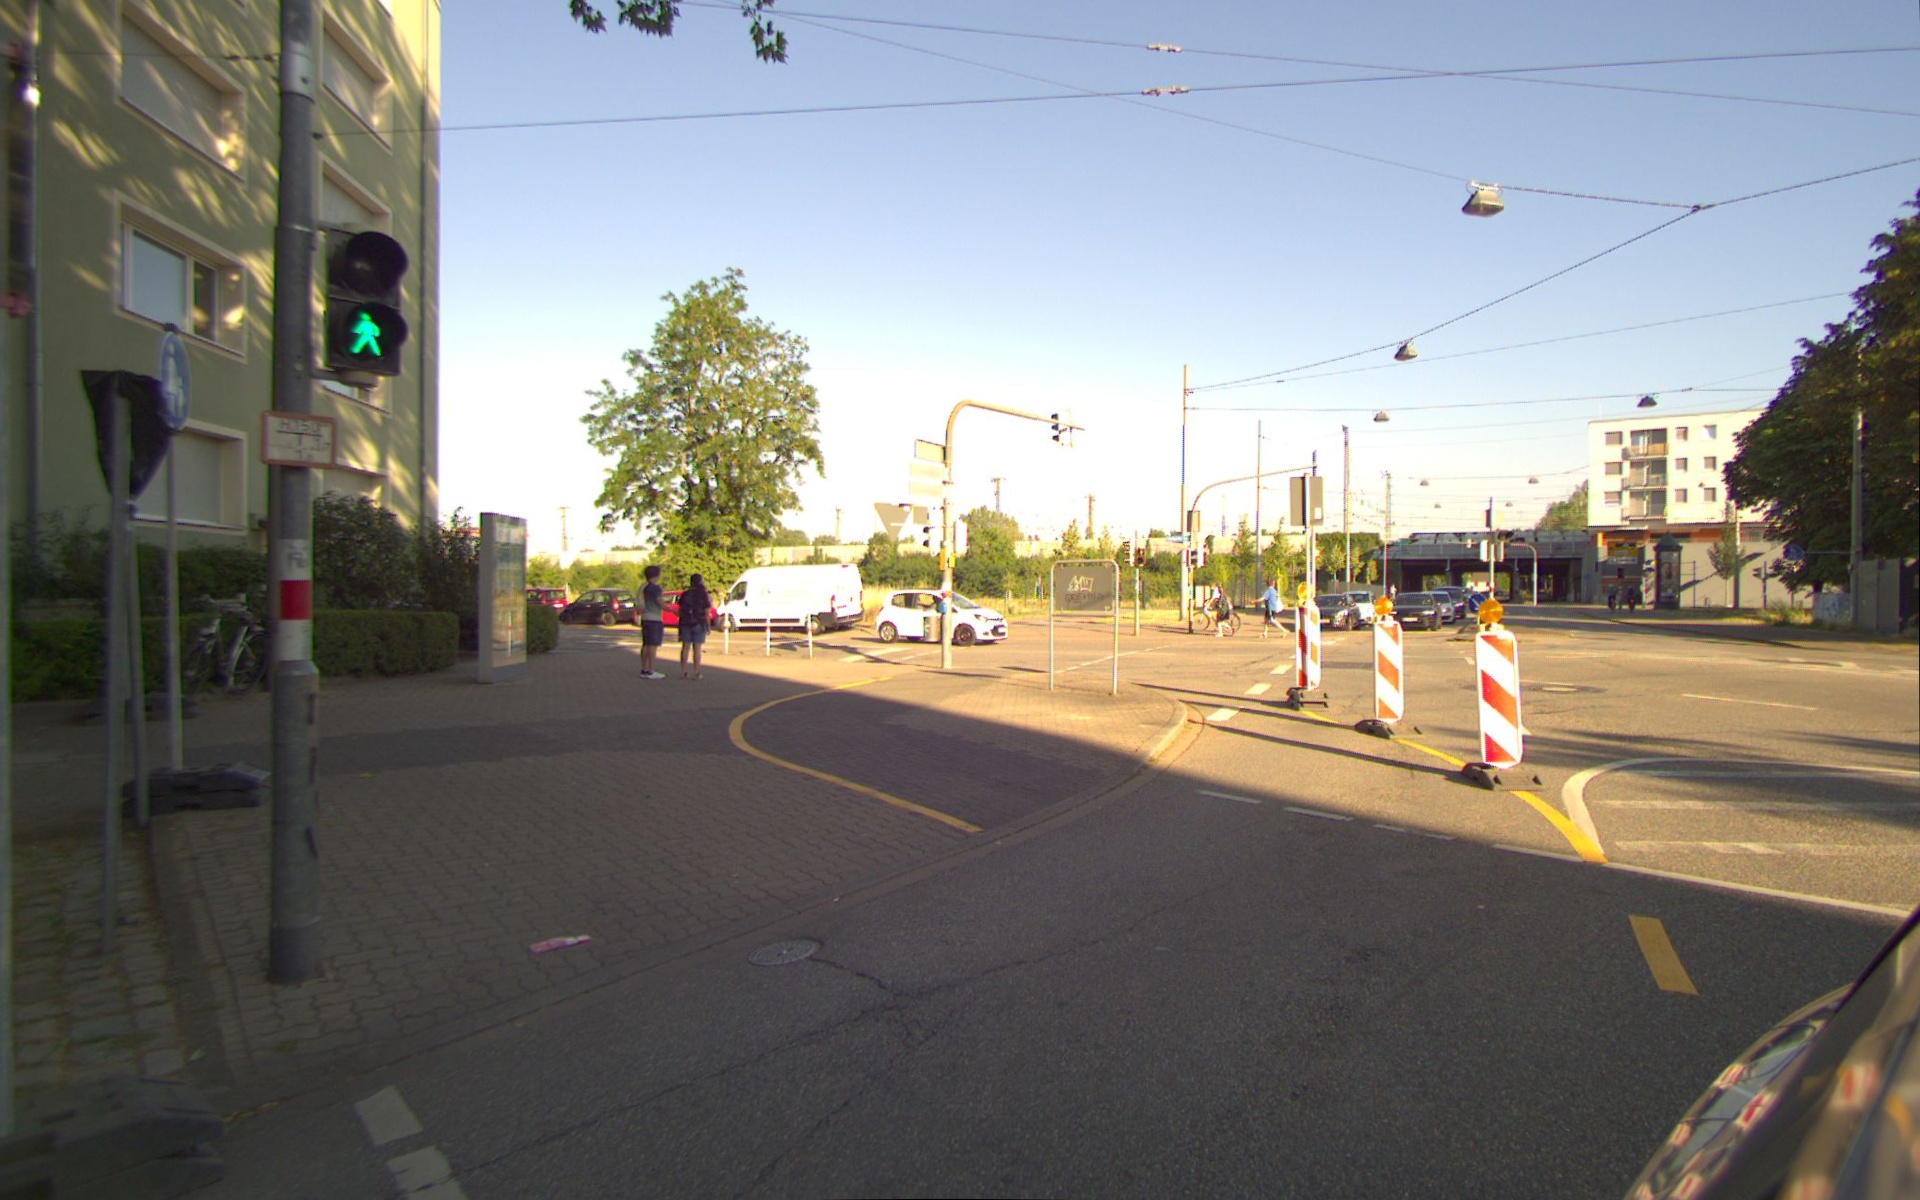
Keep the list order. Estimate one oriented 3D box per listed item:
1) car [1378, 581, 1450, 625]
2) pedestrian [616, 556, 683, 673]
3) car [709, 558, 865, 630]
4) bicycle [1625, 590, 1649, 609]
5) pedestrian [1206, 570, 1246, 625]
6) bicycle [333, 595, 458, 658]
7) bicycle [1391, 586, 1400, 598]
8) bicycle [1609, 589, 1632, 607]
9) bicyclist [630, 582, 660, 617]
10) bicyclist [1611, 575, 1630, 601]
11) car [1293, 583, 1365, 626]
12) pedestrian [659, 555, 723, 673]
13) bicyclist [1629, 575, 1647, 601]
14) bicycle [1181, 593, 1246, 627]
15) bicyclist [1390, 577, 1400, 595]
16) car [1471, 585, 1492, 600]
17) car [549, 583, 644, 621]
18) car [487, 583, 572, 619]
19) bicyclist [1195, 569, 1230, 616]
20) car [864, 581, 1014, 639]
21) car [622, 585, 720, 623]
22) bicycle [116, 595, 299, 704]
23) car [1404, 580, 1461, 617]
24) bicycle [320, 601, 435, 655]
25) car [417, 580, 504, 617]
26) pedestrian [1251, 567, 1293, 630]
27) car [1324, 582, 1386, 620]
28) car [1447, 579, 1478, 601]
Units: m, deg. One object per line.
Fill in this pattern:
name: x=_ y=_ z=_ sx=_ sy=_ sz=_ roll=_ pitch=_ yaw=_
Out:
car: x=17.476 y=0.055 z=38.875 sx=2.037 sy=1.586 sz=4.402 roll=0 pitch=1 yaw=31
pedestrian: x=-4.853 y=0.210 z=15.829 sx=0.684 sy=1.772 sz=0.790 roll=0 pitch=1 yaw=17
car: x=-6.485 y=-0.283 z=37.904 sx=5.506 sy=2.465 sz=2.217 roll=1 pitch=4 yaw=27
bicycle: x=41.254 y=-0.039 z=61.715 sx=0.654 sy=1.082 sz=2.008 roll=0 pitch=1 yaw=17
pedestrian: x=8.764 y=-0.091 z=33.293 sx=1.059 sy=1.769 sz=0.905 roll=0 pitch=1 yaw=31
bicycle: x=-9.781 y=0.458 z=17.560 sx=1.898 sy=1.070 sz=0.521 roll=0 pitch=1 yaw=1
bicycle: x=40.633 y=-0.720 z=94.427 sx=0.657 sy=1.082 sz=2.000 roll=0 pitch=1 yaw=27
bicycle: x=40.278 y=-0.142 z=61.718 sx=0.655 sy=1.082 sz=2.007 roll=1 pitch=1 yaw=18
bicyclist: x=-13.979 y=-0.031 z=44.888 sx=1.013 sy=1.566 sz=0.843 roll=0 pitch=1 yaw=31
bicyclist: x=40.298 y=-0.755 z=61.744 sx=0.689 sy=1.551 sz=1.031 roll=0 pitch=1 yaw=18
car: x=14.521 y=0.140 z=39.708 sx=1.983 sy=1.586 sz=4.231 roll=-1 pitch=1 yaw=30
pedestrian: x=-4.153 y=0.203 z=15.663 sx=0.682 sy=1.772 sz=0.793 roll=0 pitch=1 yaw=9
bicyclist: x=41.303 y=-0.733 z=61.655 sx=0.652 sy=1.551 sz=1.031 roll=0 pitch=1 yaw=18
bicycle: x=9.035 y=0.352 z=36.102 sx=2.184 sy=1.156 sz=0.692 roll=1 pitch=1 yaw=32
bicyclist: x=40.629 y=-1.279 z=94.442 sx=0.769 sy=1.626 sz=0.849 roll=1 pitch=1 yaw=27
car: x=58.338 y=-0.853 z=113.310 sx=1.980 sy=1.725 sz=3.965 roll=0 pitch=1 yaw=26
car: x=-15.536 y=0.053 z=43.240 sx=3.780 sy=1.549 sz=1.730 roll=0 pitch=1 yaw=28
car: x=-19.275 y=0.004 z=45.318 sx=3.545 sy=1.549 sz=1.649 roll=0 pitch=1 yaw=28
bicyclist: x=9.012 y=-0.270 z=36.112 sx=1.034 sy=1.649 sz=0.705 roll=0 pitch=1 yaw=33
car: x=-0.570 y=0.225 z=27.369 sx=3.739 sy=1.487 sz=1.690 roll=0 pitch=1 yaw=27
car: x=-11.753 y=0.135 z=41.129 sx=3.659 sy=1.505 sz=1.730 roll=0 pitch=1 yaw=28
bicycle: x=-8.214 y=0.493 z=11.165 sx=0.511 sy=1.070 sz=1.933 roll=0 pitch=1 yaw=3
car: x=21.490 y=-0.108 z=45.935 sx=1.983 sy=1.586 sz=4.410 roll=0 pitch=1 yaw=30
bicycle: x=-11.219 y=0.529 z=19.547 sx=1.810 sy=1.015 sz=0.647 roll=0 pitch=1 yaw=-9
car: x=-23.379 y=-0.108 z=47.347 sx=3.967 sy=1.680 sz=1.649 roll=0 pitch=1 yaw=28
pedestrian: x=9.762 y=-0.059 z=31.637 sx=1.059 sy=1.949 sz=0.905 roll=0 pitch=0 yaw=31
car: x=17.687 y=-0.008 z=45.186 sx=1.983 sy=1.586 sz=4.231 roll=0 pitch=1 yaw=30
car: x=40.000 y=-0.814 z=80.507 sx=1.983 sy=1.725 sz=3.959 roll=1 pitch=1 yaw=29
